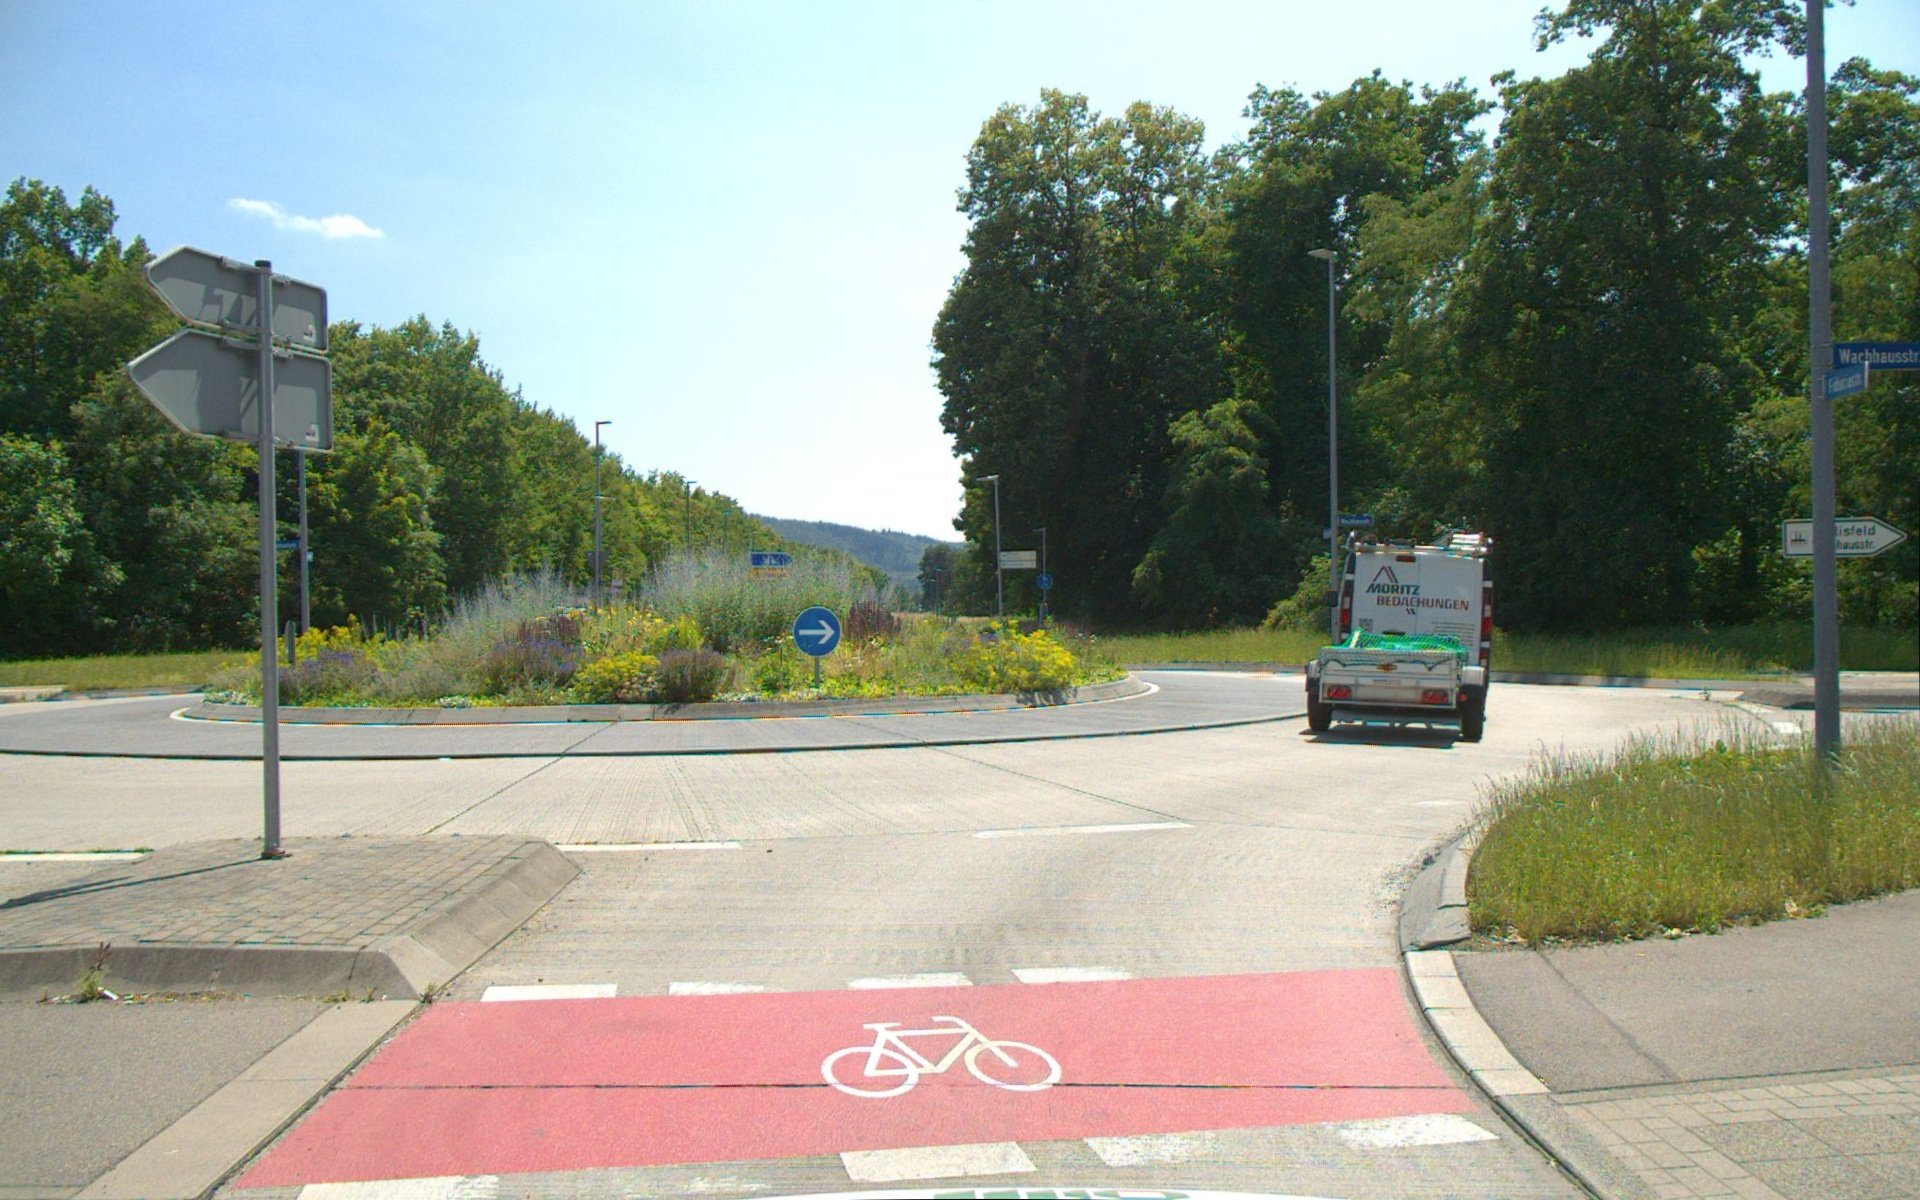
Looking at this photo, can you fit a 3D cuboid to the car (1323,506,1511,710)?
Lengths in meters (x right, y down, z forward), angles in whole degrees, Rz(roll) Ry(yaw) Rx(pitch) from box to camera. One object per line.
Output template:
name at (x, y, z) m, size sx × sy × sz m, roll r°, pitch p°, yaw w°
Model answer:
car at (5.957, 0.134, 21.798) m, size 2.120 × 2.357 × 4.985 m, roll 0°, pitch -1°, yaw 14°

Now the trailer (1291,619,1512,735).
trailer at (4.849, 0.773, 17.853) m, size 2.077 × 1.116 × 3.355 m, roll 0°, pitch -1°, yaw 19°
